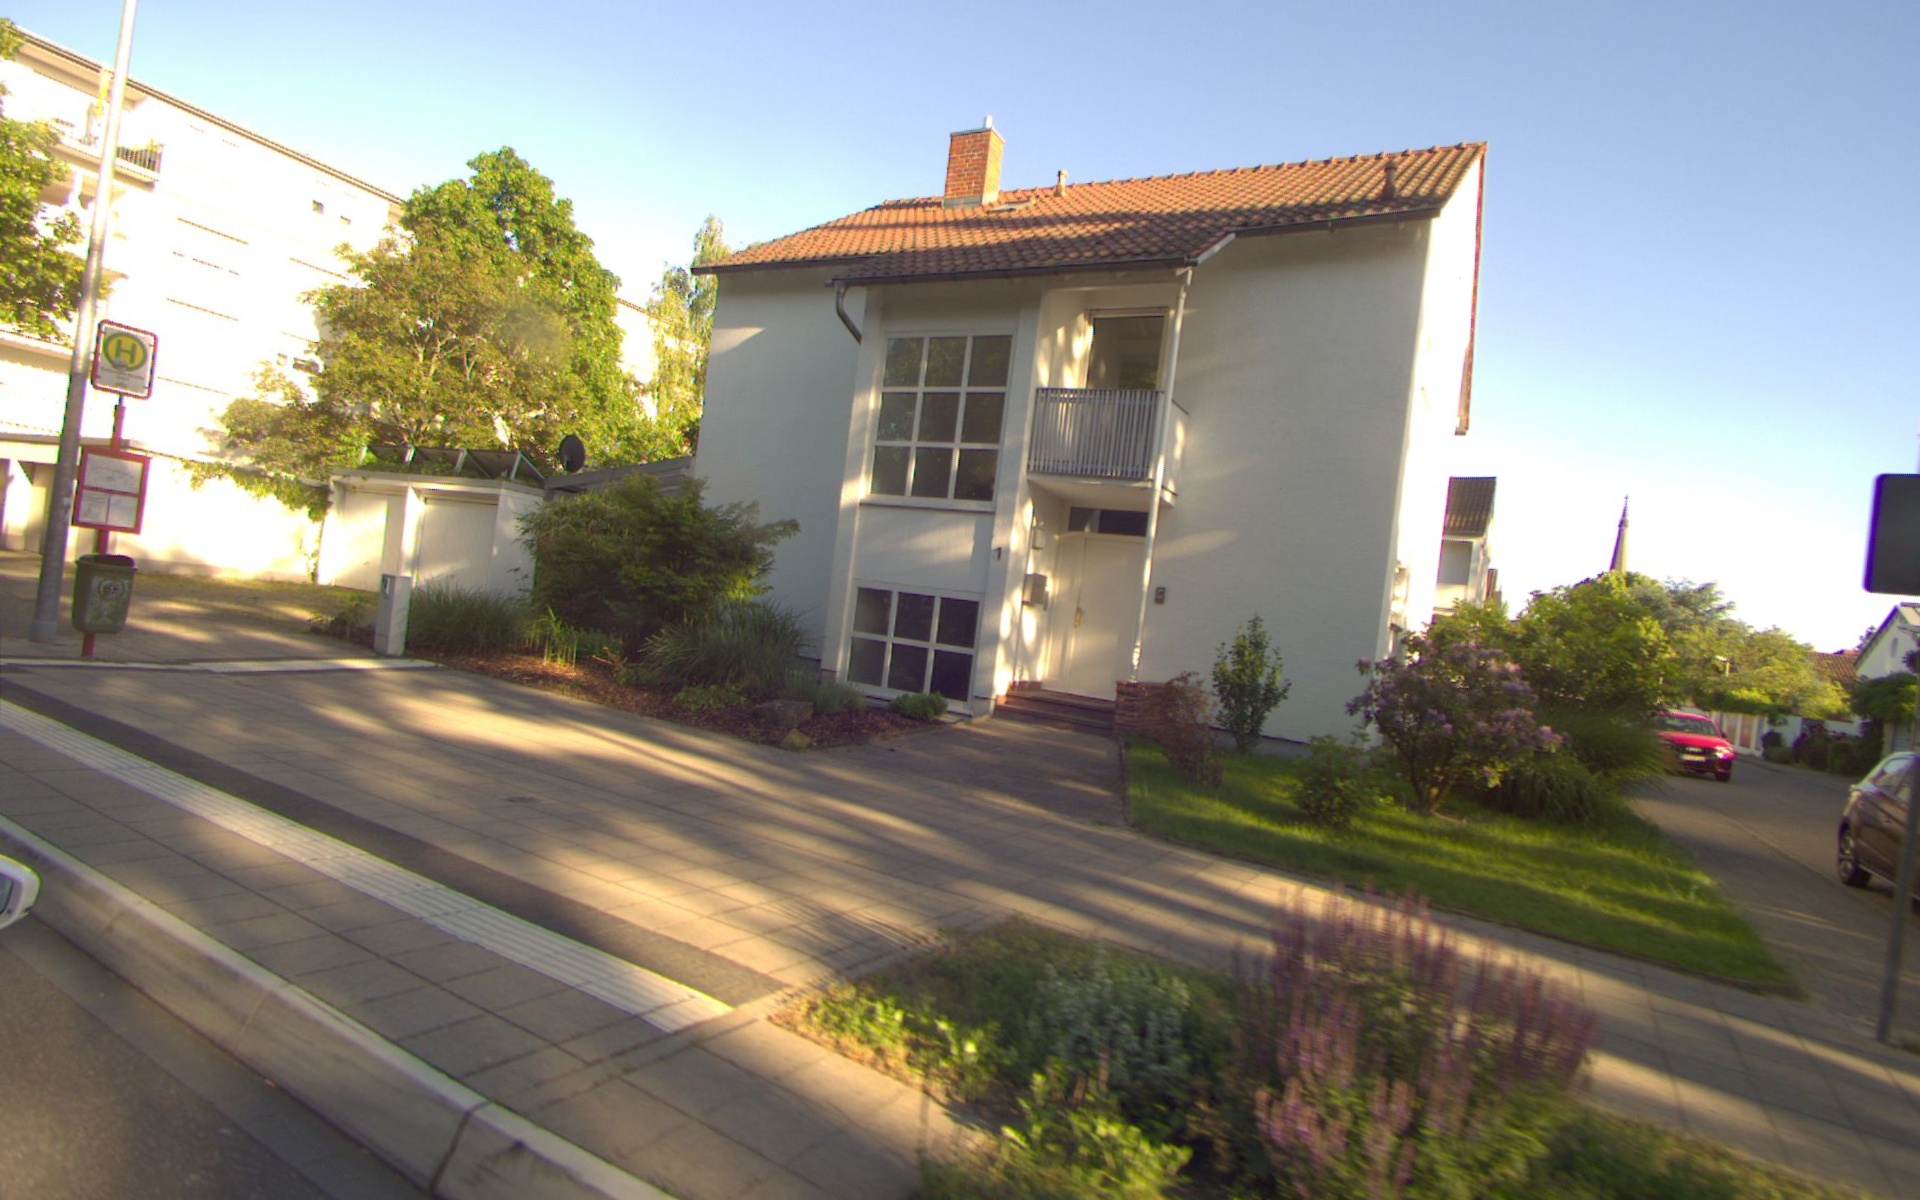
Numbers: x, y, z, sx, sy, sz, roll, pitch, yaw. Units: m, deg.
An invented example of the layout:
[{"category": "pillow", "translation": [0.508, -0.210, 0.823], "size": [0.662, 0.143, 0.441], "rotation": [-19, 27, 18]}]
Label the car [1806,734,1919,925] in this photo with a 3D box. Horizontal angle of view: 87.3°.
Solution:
[{"category": "car", "translation": [9.369, 2.176, 9.028], "size": [1.661, 1.519, 3.742], "rotation": [8, -1, 26]}]

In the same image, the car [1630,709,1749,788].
[{"category": "car", "translation": [19.047, 3.813, 26.451], "size": [1.919, 1.641, 4.050], "rotation": [6, -2, 29]}]
